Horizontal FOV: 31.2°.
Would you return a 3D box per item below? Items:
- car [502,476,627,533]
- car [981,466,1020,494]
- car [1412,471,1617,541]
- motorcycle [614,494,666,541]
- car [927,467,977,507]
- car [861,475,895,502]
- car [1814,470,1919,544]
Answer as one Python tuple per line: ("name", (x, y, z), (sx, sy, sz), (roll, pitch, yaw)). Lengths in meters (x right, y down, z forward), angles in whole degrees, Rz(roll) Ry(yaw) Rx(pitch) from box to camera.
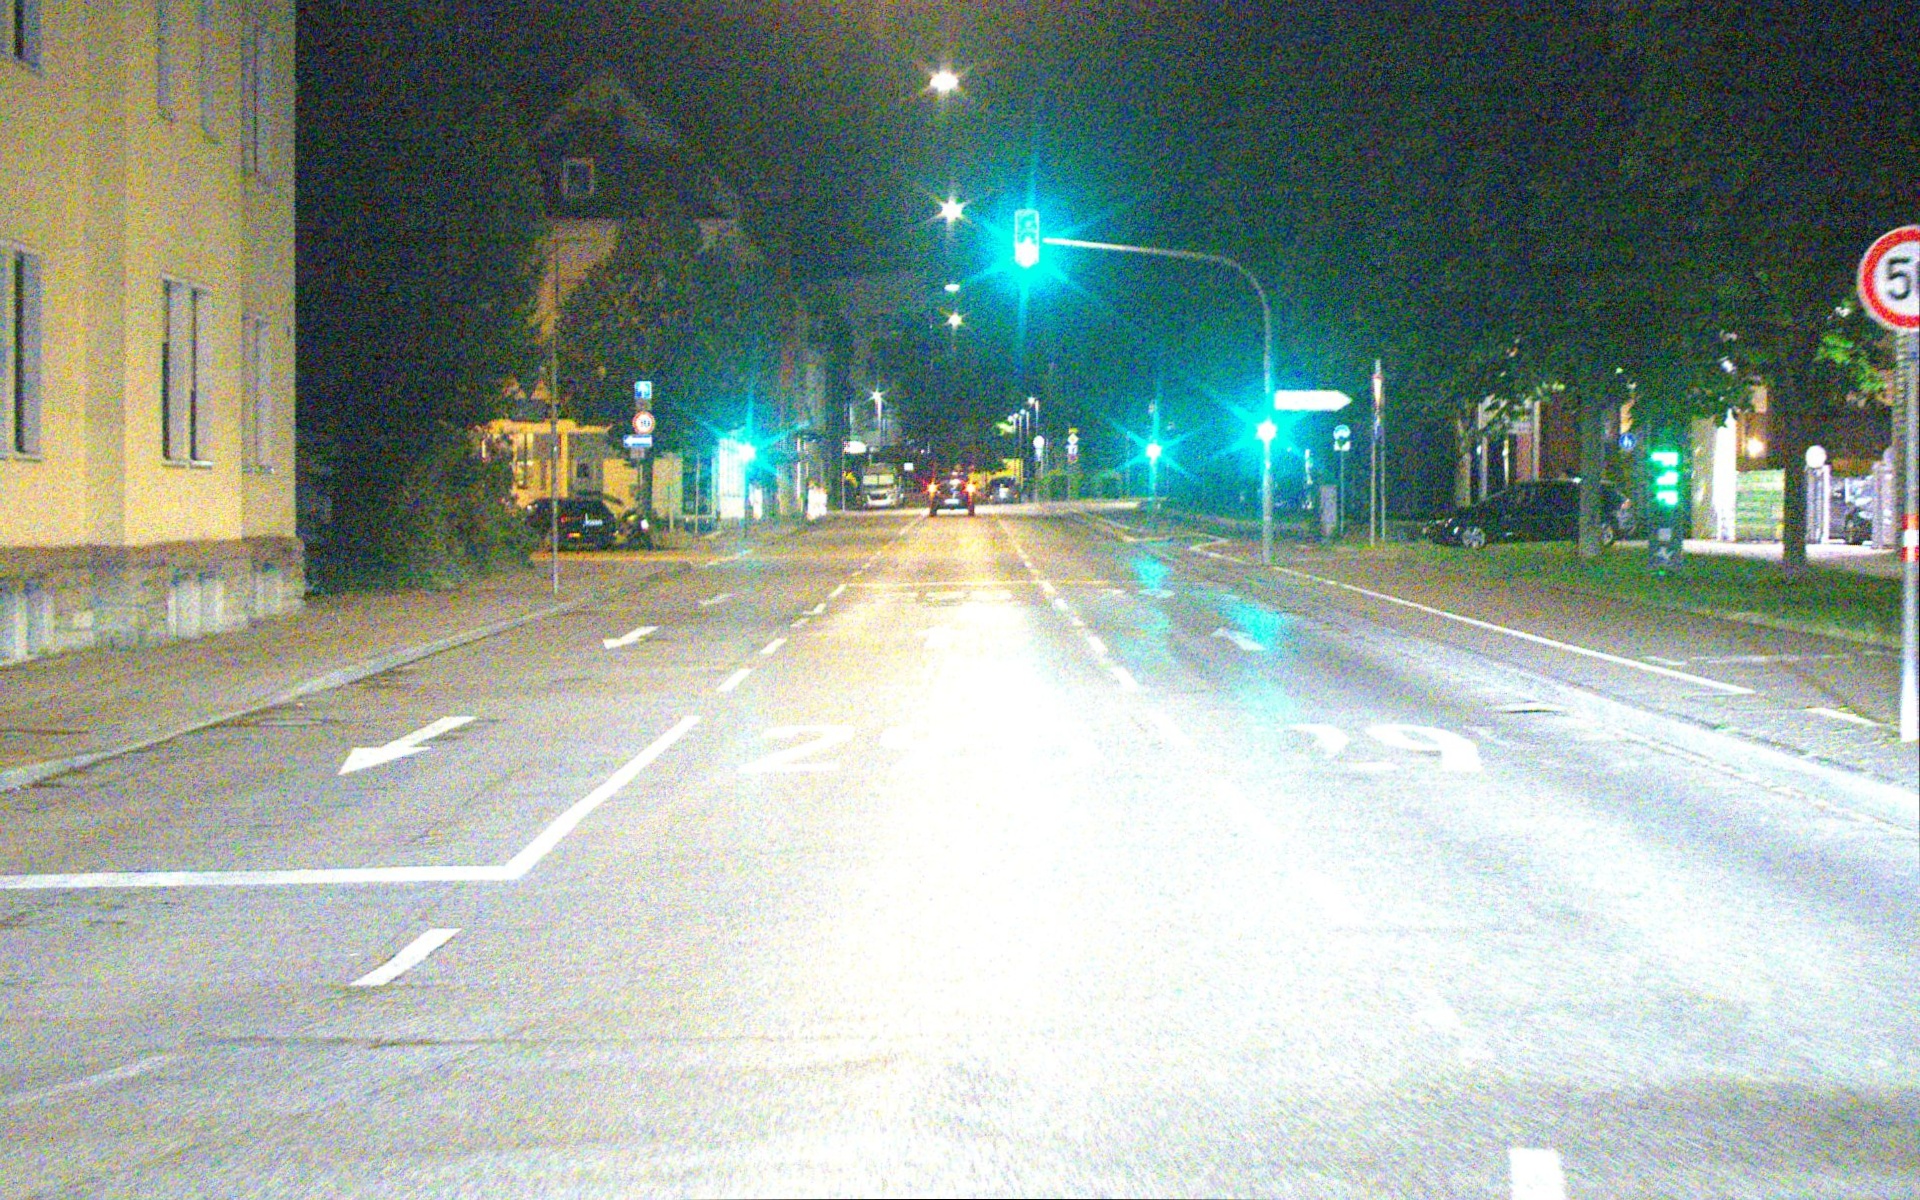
("car", (-10.675, -2.566, 92.575), (1.803, 1.481, 4.000), (-2, 2, -31))
("car", (2.329, -6.895, 197.919), (1.993, 1.590, 4.001), (0, 2, -2))
("car", (11.391, -1.939, 70.798), (3.987, 1.381, 1.771), (-1, 2, 3))
("motorcycle", (-8.363, -2.172, 89.825), (0.781, 1.199, 2.450), (-1, 2, -19))
("car", (-0.349, -4.724, 143.786), (1.993, 1.634, 4.001), (0, 1, -2))
("car", (-4.379, -5.936, 183.373), (1.777, 1.385, 4.001), (-1, 2, -2))
("car", (19.226, -1.970, 72.254), (1.573, 1.482, 3.832), (-1, 2, -1))
